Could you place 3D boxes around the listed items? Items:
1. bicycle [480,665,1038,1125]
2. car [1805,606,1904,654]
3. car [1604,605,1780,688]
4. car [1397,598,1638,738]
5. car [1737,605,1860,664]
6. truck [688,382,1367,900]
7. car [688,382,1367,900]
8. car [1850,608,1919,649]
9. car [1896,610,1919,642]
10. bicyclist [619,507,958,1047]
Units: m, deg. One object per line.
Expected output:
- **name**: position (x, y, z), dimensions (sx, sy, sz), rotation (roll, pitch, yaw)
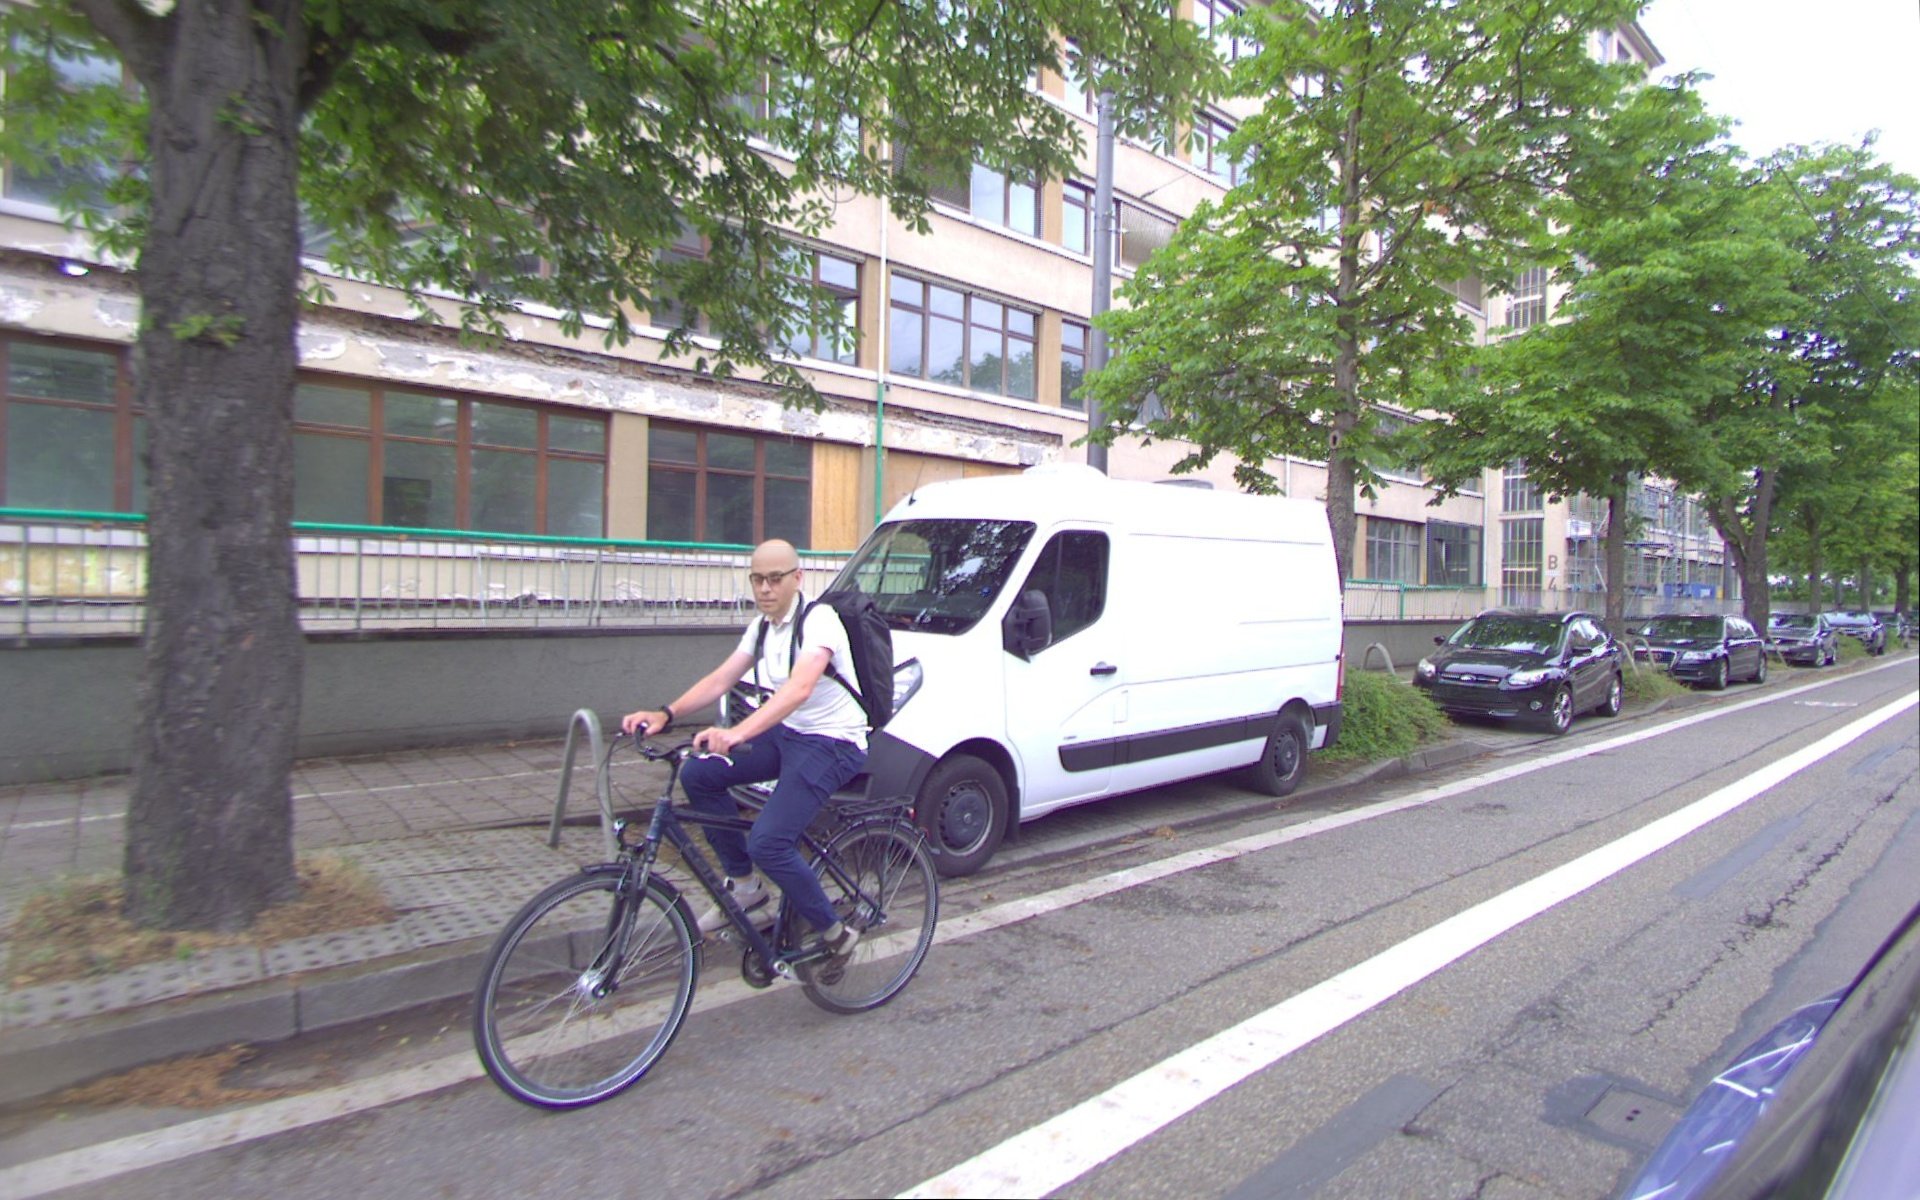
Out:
- **bicycle**: position (-0.604, 0.834, 3.547), dimensions (1.834, 1.131, 0.665), rotation (1, -2, -41)
- **car**: position (29.999, 0.960, 33.899), dimensions (4.317, 1.479, 1.996), rotation (0, 0, -42)
- **car**: position (14.707, 0.844, 20.250), dimensions (4.317, 1.479, 1.996), rotation (0, 0, -42)
- **car**: position (7.735, 0.790, 13.872), dimensions (1.822, 1.518, 4.040), rotation (3, 3, 45)
- **car**: position (23.074, 0.880, 27.798), dimensions (4.317, 1.479, 1.996), rotation (0, 0, -42)
- **truck**: position (0.883, 0.216, 7.782), dimensions (5.399, 2.635, 2.115), rotation (1, -1, -43)
- **car**: position (0.883, 0.216, 7.782), dimensions (5.399, 2.635, 2.115), rotation (1, -1, -43)
- **car**: position (35.988, 1.071, 39.033), dimensions (4.317, 1.479, 1.996), rotation (0, 0, -42)
- **car**: position (46.803, 1.232, 48.858), dimensions (4.317, 1.479, 1.996), rotation (0, 0, -42)
- **bicyclist**: position (-0.589, 0.521, 3.559), dimensions (0.969, 1.590, 0.663), rotation (1, -1, -42)
